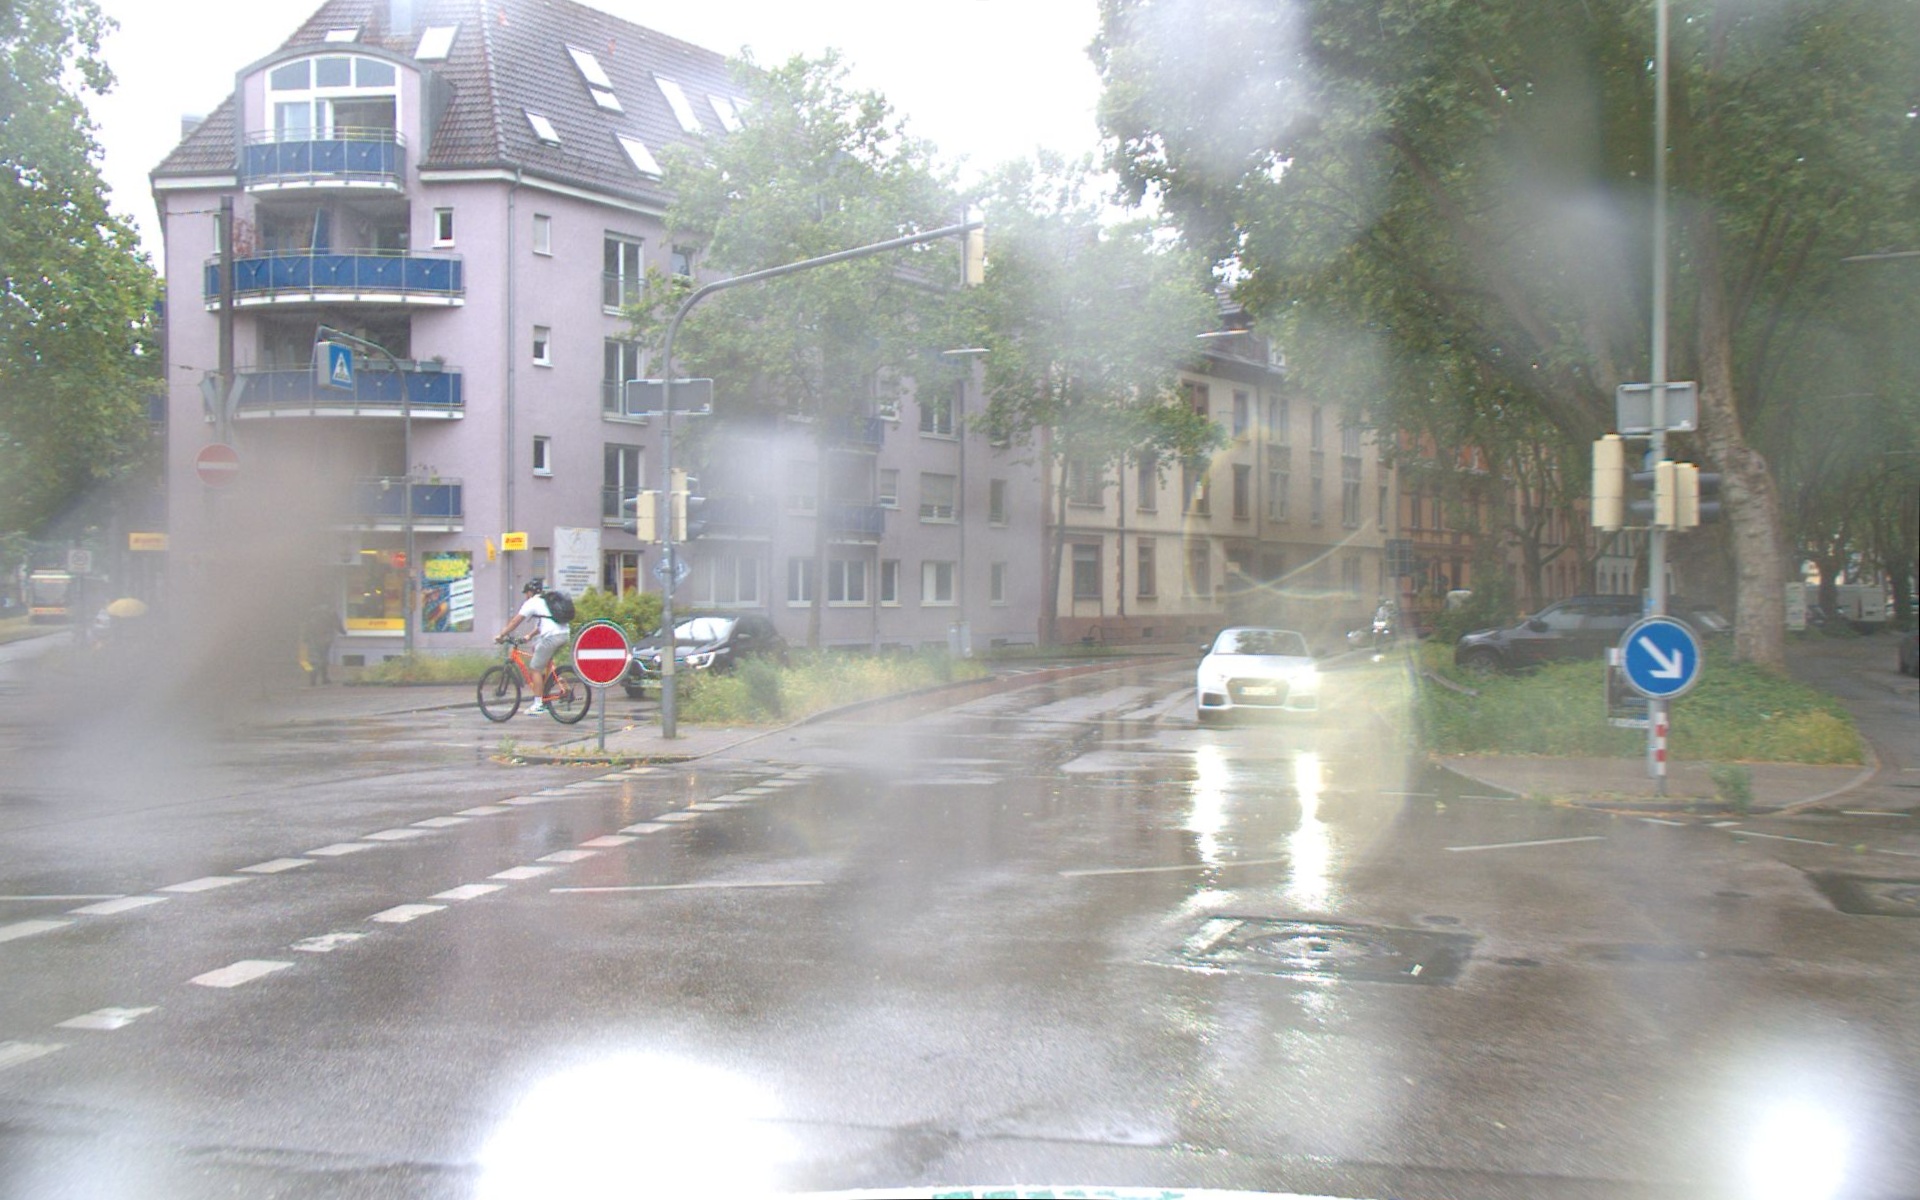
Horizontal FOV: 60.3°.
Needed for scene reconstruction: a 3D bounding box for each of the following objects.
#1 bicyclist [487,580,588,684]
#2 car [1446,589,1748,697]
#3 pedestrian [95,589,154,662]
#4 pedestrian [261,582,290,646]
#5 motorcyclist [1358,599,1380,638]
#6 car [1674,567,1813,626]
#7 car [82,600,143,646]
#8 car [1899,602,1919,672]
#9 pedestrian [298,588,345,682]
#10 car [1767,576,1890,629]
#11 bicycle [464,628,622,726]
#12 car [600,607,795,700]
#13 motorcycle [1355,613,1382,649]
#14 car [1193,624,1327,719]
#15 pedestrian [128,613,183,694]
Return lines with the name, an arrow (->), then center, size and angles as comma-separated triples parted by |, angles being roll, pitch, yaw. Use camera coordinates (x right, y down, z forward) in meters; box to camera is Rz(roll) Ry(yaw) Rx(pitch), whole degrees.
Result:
bicyclist -> -5.566, 0.403, 21.814 | 1.052, 1.332, 0.742 | 0, 1, 25
car -> 10.850, 0.683, 28.413 | 1.861, 1.693, 4.528 | 0, 0, -44
pedestrian -> -21.436, 0.643, 42.450 | 1.157, 1.819, 0.880 | 0, 0, -43
pedestrian -> -17.475, 0.353, 42.215 | 0.462, 1.630, 0.594 | 0, 0, 2
motorcyclist -> 14.493, 0.647, 58.606 | 0.739, 1.375, 0.755 | 0, 0, 16
car -> 33.638, -0.127, 71.212 | 2.193, 2.443, 5.575 | 0, 0, -19
car -> -33.408, 0.878, 65.297 | 1.968, 1.702, 3.969 | 0, 0, -25
car -> 24.250, 0.882, 40.525 | 1.888, 1.662, 3.997 | 0, 0, 26
pedestrian -> -12.674, 0.678, 32.838 | 0.627, 1.835, 0.622 | 0, 1, 10
car -> 45.482, 0.140, 86.750 | 1.965, 2.696, 5.934 | 0, 0, -21
bicycle -> -5.501, 0.995, 21.807 | 1.994, 1.193, 0.752 | 0, 1, 24
car -> -4.518, 0.878, 29.112 | 1.946, 1.487, 4.181 | 0, 0, 13
motorcycle -> 14.490, 1.090, 58.634 | 0.860, 1.236, 2.076 | 0, 0, 16
car -> 4.637, 1.035, 25.356 | 1.856, 1.297, 4.175 | 0, 0, 12
pedestrian -> -16.354, 1.073, 33.641 | 0.978, 1.586, 0.778 | 0, 0, -24
